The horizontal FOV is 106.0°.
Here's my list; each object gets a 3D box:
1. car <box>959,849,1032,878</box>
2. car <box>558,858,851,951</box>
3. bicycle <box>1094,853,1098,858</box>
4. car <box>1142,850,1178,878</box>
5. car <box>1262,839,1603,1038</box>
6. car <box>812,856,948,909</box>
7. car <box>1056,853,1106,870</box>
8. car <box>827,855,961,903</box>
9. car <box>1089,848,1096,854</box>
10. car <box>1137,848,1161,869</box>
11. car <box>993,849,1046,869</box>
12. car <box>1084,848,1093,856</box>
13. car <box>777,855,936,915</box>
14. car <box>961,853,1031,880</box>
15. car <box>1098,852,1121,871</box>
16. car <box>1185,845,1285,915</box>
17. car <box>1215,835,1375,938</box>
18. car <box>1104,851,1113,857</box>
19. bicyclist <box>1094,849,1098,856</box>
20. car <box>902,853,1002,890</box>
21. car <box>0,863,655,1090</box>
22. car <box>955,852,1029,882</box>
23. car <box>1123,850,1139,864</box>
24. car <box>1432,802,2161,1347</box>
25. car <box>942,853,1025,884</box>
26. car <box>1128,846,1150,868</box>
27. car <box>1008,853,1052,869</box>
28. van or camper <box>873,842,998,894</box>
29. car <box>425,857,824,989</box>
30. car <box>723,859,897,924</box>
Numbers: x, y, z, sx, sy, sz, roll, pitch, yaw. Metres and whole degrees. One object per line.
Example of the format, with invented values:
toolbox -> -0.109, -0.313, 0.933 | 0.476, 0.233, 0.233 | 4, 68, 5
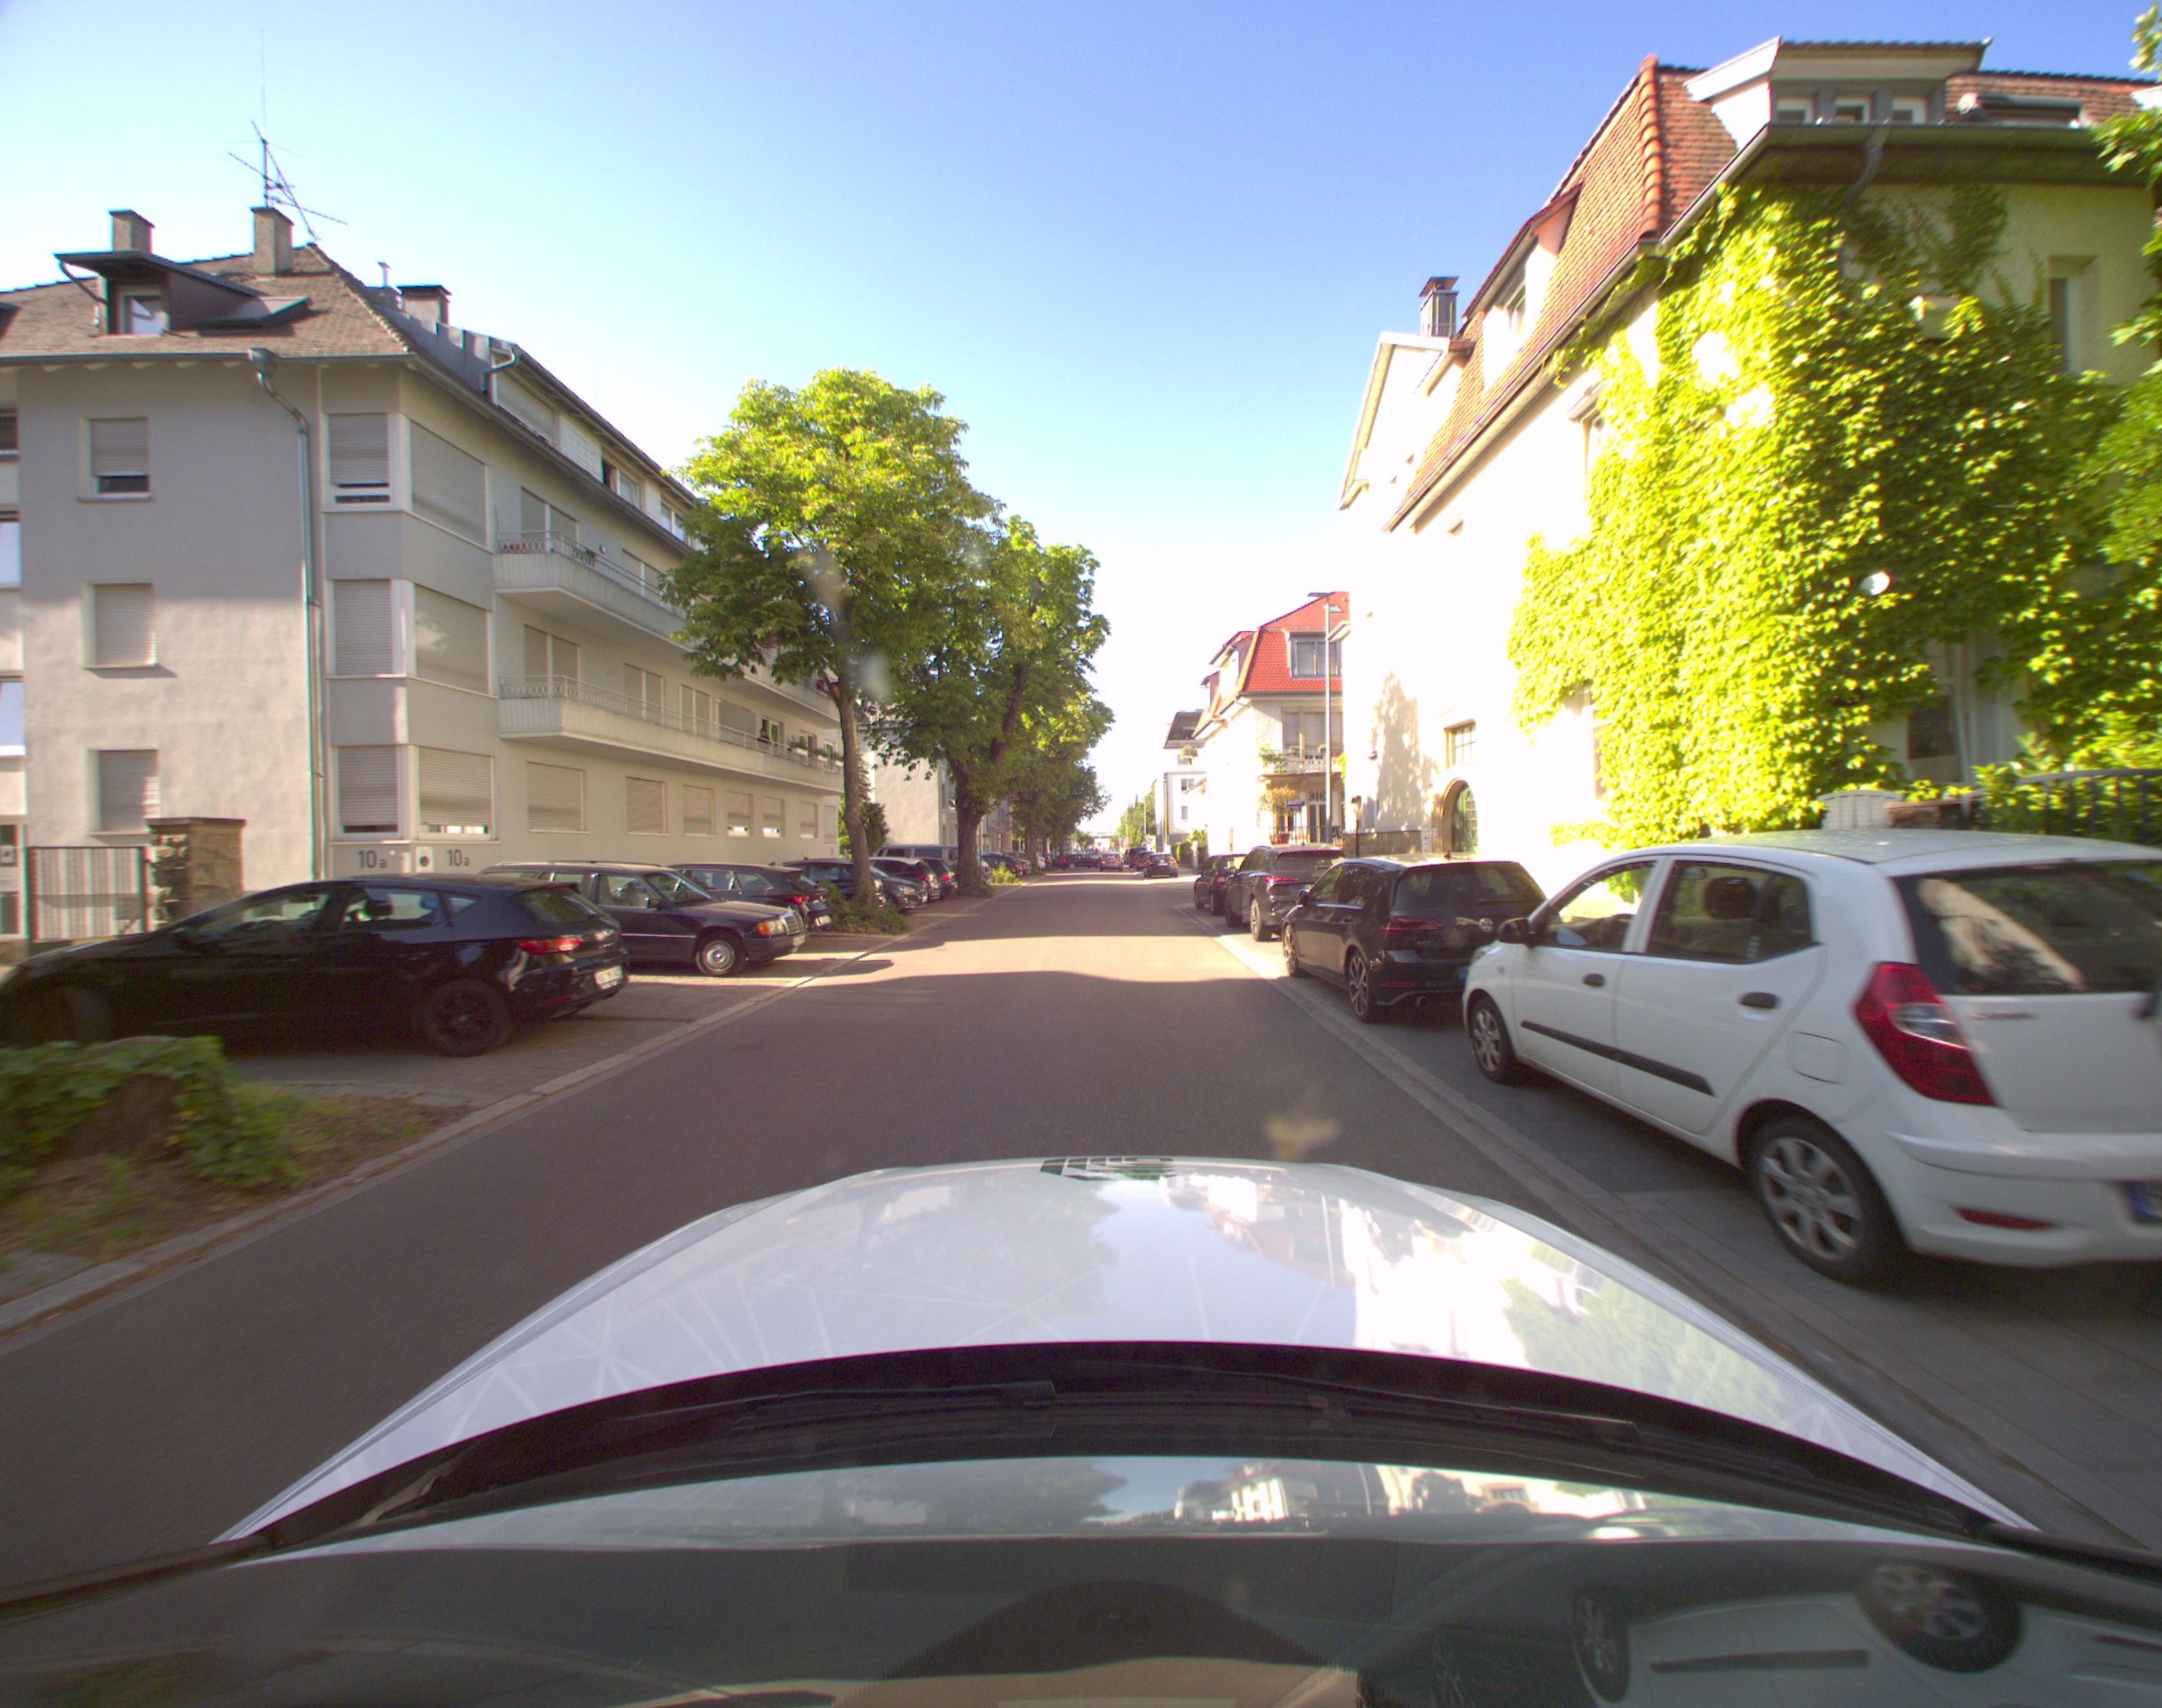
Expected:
car -> -5.428, 0.596, 51.972 | 4.369, 1.652, 1.824 | -2, 1, 2
car -> -6.305, 0.819, 13.968 | 4.174, 1.441, 1.713 | 1, 0, 0
bicycle -> 3.245, 0.305, 173.091 | 0.716, 1.079, 1.892 | -1, 0, 2
car -> 4.446, 0.545, 46.428 | 1.614, 1.440, 3.934 | -3, 0, 0
car -> 3.169, 0.680, 8.363 | 1.703, 1.436, 4.194 | -3, -1, 1
car -> -5.834, 0.809, 23.909 | 3.464, 1.458, 1.798 | 1, 0, 2
car -> 0.005, 0.662, 74.503 | 4.210, 1.448, 1.698 | 1, -1, -26
car -> -5.986, 0.785, 26.385 | 3.910, 1.414, 1.715 | 1, 1, -1
car -> 2.973, -0.752, 208.527 | 1.781, 1.532, 4.001 | 2, 1, 1
car -> 5.233, 0.349, 62.926 | 1.586, 1.480, 3.248 | -3, 0, 1
car -> -4.802, 0.389, 64.118 | 4.008, 1.484, 1.807 | 1, 0, 1
car -> 1.677, -0.386, 185.178 | 1.868, 1.728, 3.996 | -1, 0, -3
car -> -5.827, 0.788, 21.398 | 3.628, 1.463, 1.712 | 1, 0, 3
car -> -5.089, 0.738, 48.915 | 3.973, 1.468, 1.697 | -1, 0, 1
car -> 2.206, 0.612, 62.330 | 1.720, 1.420, 3.963 | 0, -1, 3
car -> 3.794, 0.629, 20.703 | 1.658, 1.520, 3.999 | -2, -1, -1
car -> 3.661, 0.530, 14.730 | 1.785, 1.520, 4.367 | -2, -1, 1
car -> 6.432, -0.096, 187.554 | 1.718, 1.330, 3.996 | -1, 0, -3
bicyclist -> 3.228, -0.306, 173.166 | 0.718, 1.537, 1.137 | -1, 0, 2
car -> -5.466, 0.730, 34.766 | 3.928, 1.498, 1.664 | 1, 1, 3
car -> -6.200, 0.917, 7.182 | 3.867, 1.514, 1.828 | -2, 0, -8
car -> -5.070, 0.703, 46.703 | 3.974, 1.592, 1.878 | -1, 0, -1
car -> 5.646, 0.280, 92.397 | 1.730, 1.531, 4.180 | -1, 0, 2
car -> 3.297, 0.646, 4.098 | 1.570, 1.549, 3.469 | -2, -1, 1
car -> -5.215, 0.760, 43.834 | 4.173, 1.498, 1.861 | -1, 0, 0
car -> 5.314, 0.293, 75.719 | 1.864, 1.905, 5.201 | -2, -1, 3
car -> -4.792, 0.609, 76.332 | 3.973, 1.421, 1.771 | 0, 1, 0
van or camper -> -5.611, 0.530, 31.812 | 4.481, 1.914, 1.965 | -1, 0, 1
car -> -6.260, 0.904, 11.605 | 4.576, 1.607, 1.832 | -1, 0, -2
car -> -6.222, 0.851, 19.018 | 3.471, 1.420, 1.708 | 1, -1, -4
